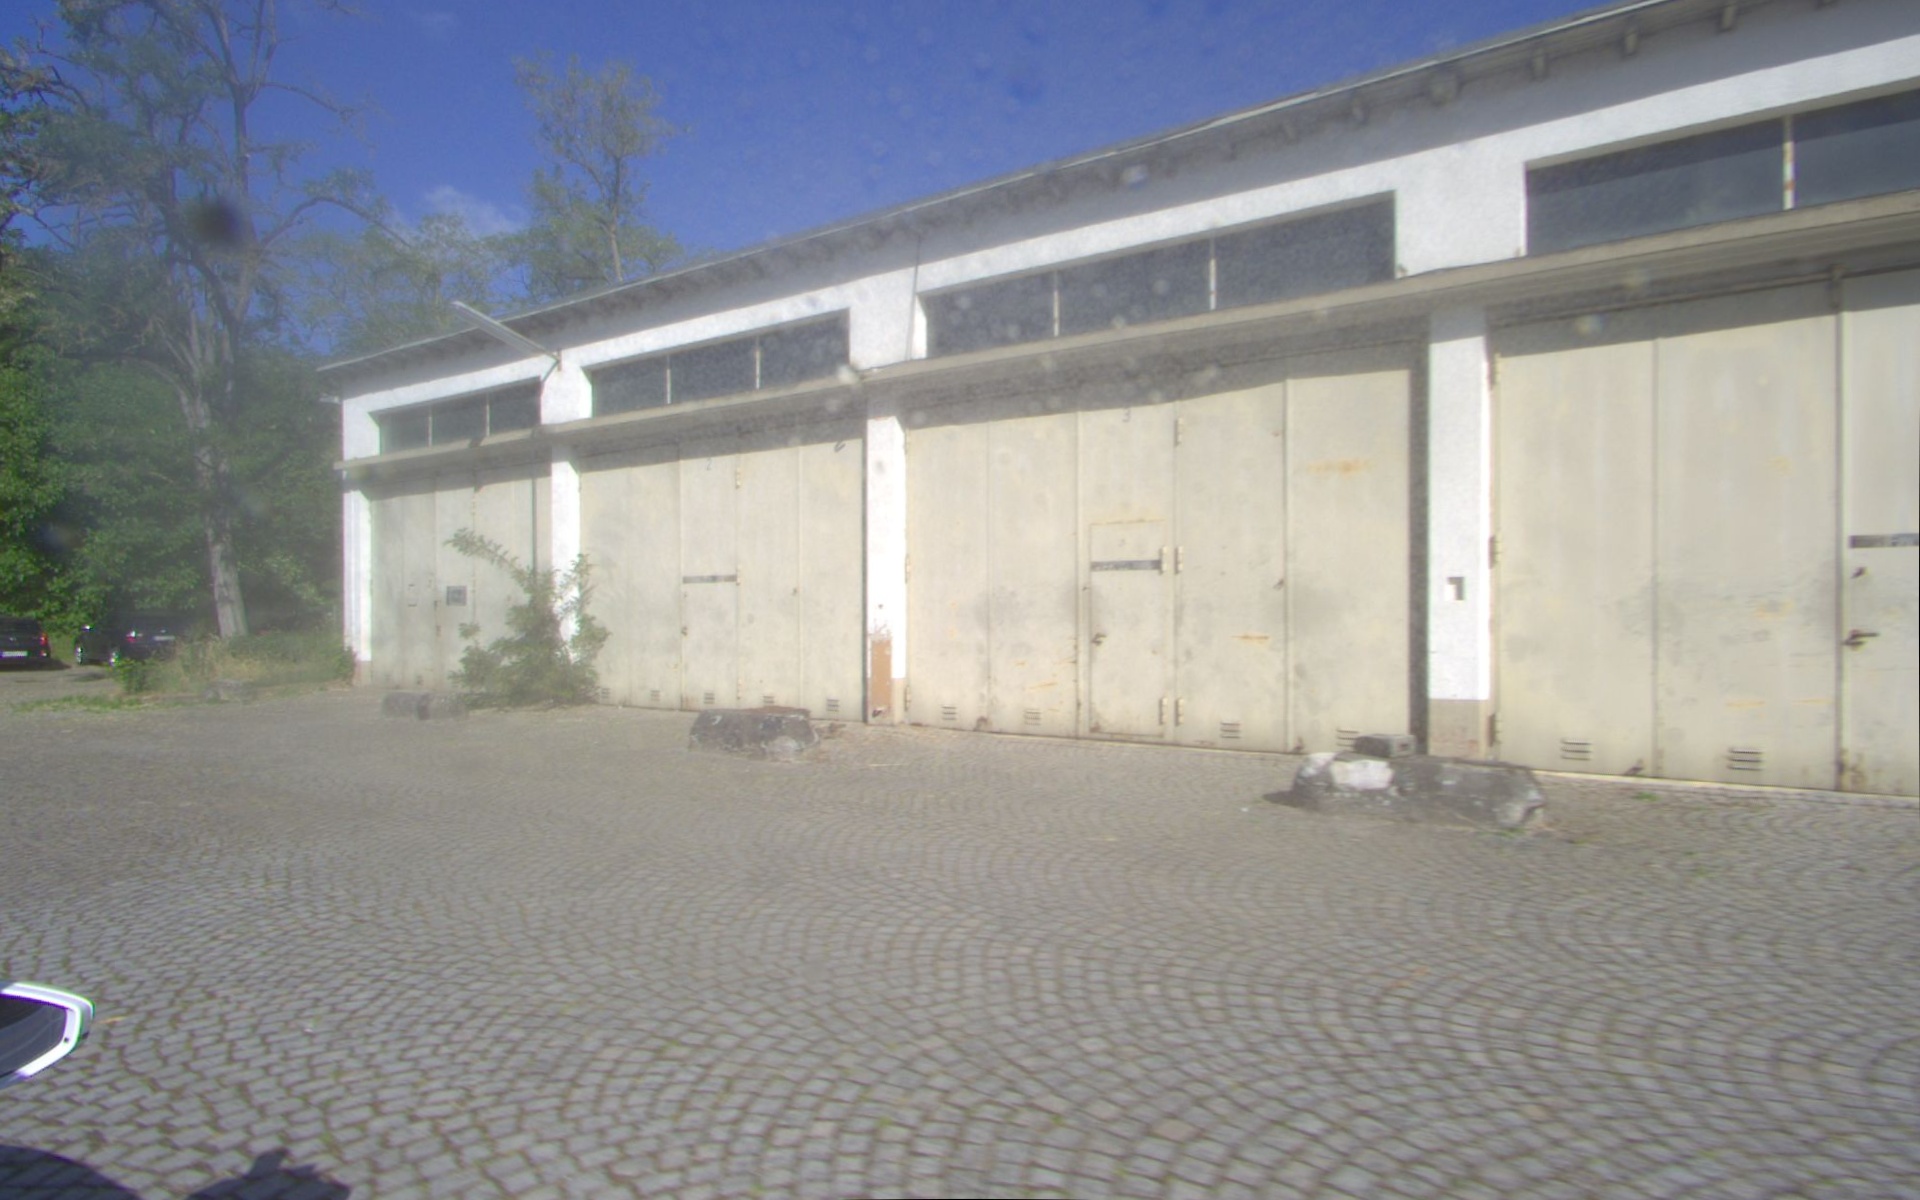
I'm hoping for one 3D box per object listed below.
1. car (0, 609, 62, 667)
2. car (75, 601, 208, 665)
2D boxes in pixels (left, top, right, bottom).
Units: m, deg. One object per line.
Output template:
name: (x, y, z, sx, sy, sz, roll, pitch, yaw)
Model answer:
car: (-26.669, 1.022, 27.999, 3.678, 1.470, 1.732, 1, -1, 39)
car: (-24.774, 0.972, 30.273, 4.211, 1.652, 1.871, 3, 0, 33)
